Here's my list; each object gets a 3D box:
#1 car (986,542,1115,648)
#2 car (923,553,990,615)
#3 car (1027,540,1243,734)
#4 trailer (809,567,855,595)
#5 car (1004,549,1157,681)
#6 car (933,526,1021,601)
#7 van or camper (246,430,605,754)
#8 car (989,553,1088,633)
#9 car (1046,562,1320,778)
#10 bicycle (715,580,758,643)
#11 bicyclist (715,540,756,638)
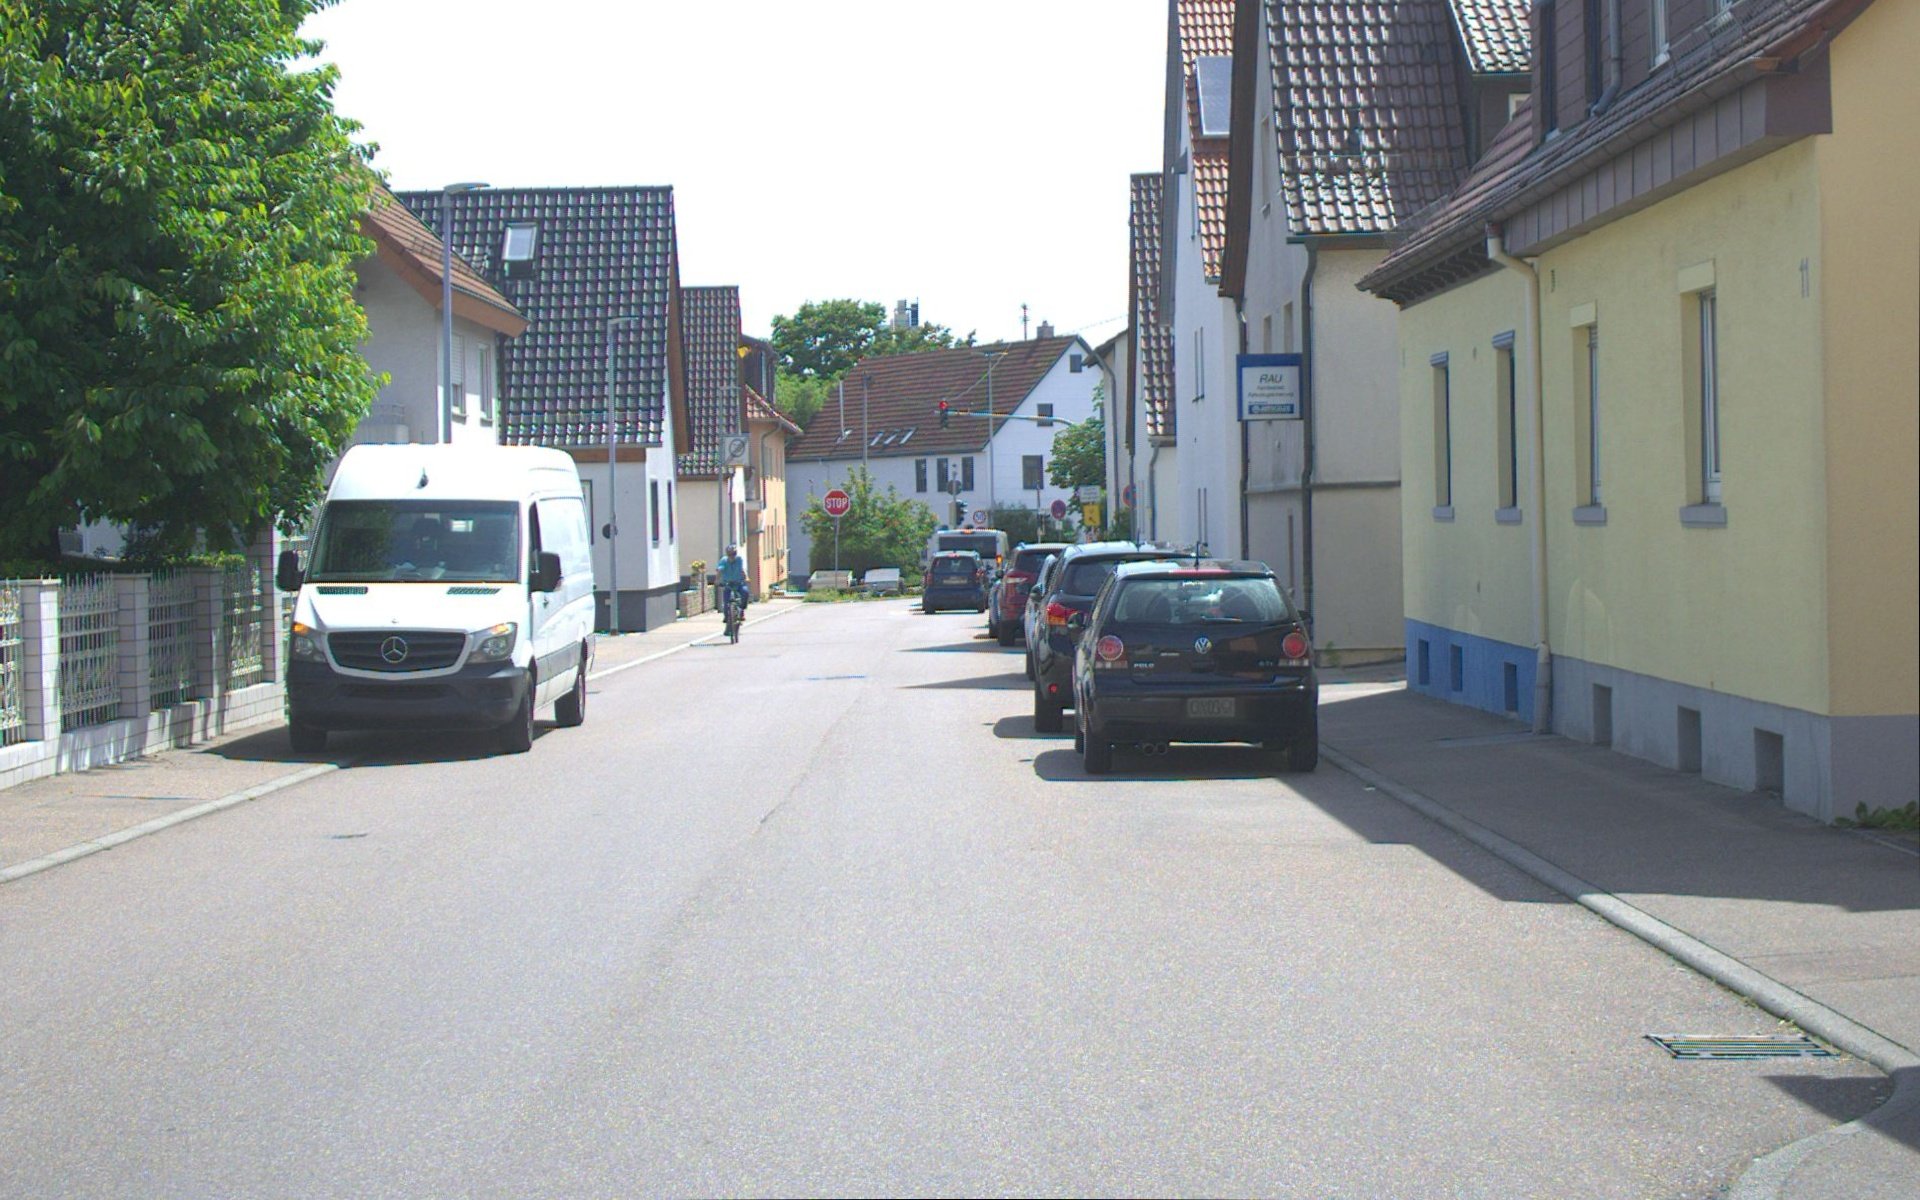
[{"bbox_3d":[1.473,-0.111,57.350,1.875,1.694,4.183,0,1,-2],"label":"car"},{"bbox_3d":[-0.082,-0.425,88.525,1.516,1.561,3.184,0,1,3],"label":"car"},{"bbox_3d":[1.486,0.271,30.484,1.728,1.594,4.253,0,1,1],"label":"car"},{"bbox_3d":[-4.421,-0.654,118.441,1.502,0.924,1.012,1,1,2],"label":"trailer"},{"bbox_3d":[1.460,0.156,42.424,1.673,1.553,3.040,0,1,-2],"label":"car"},{"bbox_3d":[0.537,-1.109,102.751,2.129,2.151,4.735,-1,1,6],"label":"car"},{"bbox_3d":[-4.583,-0.118,30.636,2.184,2.563,6.807,0,1,0],"label":"van or camper"},{"bbox_3d":[1.454,-0.152,63.641,1.763,1.419,4.592,0,1,1],"label":"car"},{"bbox_3d":[1.541,0.450,24.927,1.610,1.426,3.754,0,1,-2],"label":"car"},{"bbox_3d":[-4.117,0.198,63.440,0.670,1.128,2.189,0,1,-1],"label":"bicycle"},{"bbox_3d":[-4.141,-0.211,63.455,0.713,1.792,0.942,-1,1,-2],"label":"bicyclist"}]
